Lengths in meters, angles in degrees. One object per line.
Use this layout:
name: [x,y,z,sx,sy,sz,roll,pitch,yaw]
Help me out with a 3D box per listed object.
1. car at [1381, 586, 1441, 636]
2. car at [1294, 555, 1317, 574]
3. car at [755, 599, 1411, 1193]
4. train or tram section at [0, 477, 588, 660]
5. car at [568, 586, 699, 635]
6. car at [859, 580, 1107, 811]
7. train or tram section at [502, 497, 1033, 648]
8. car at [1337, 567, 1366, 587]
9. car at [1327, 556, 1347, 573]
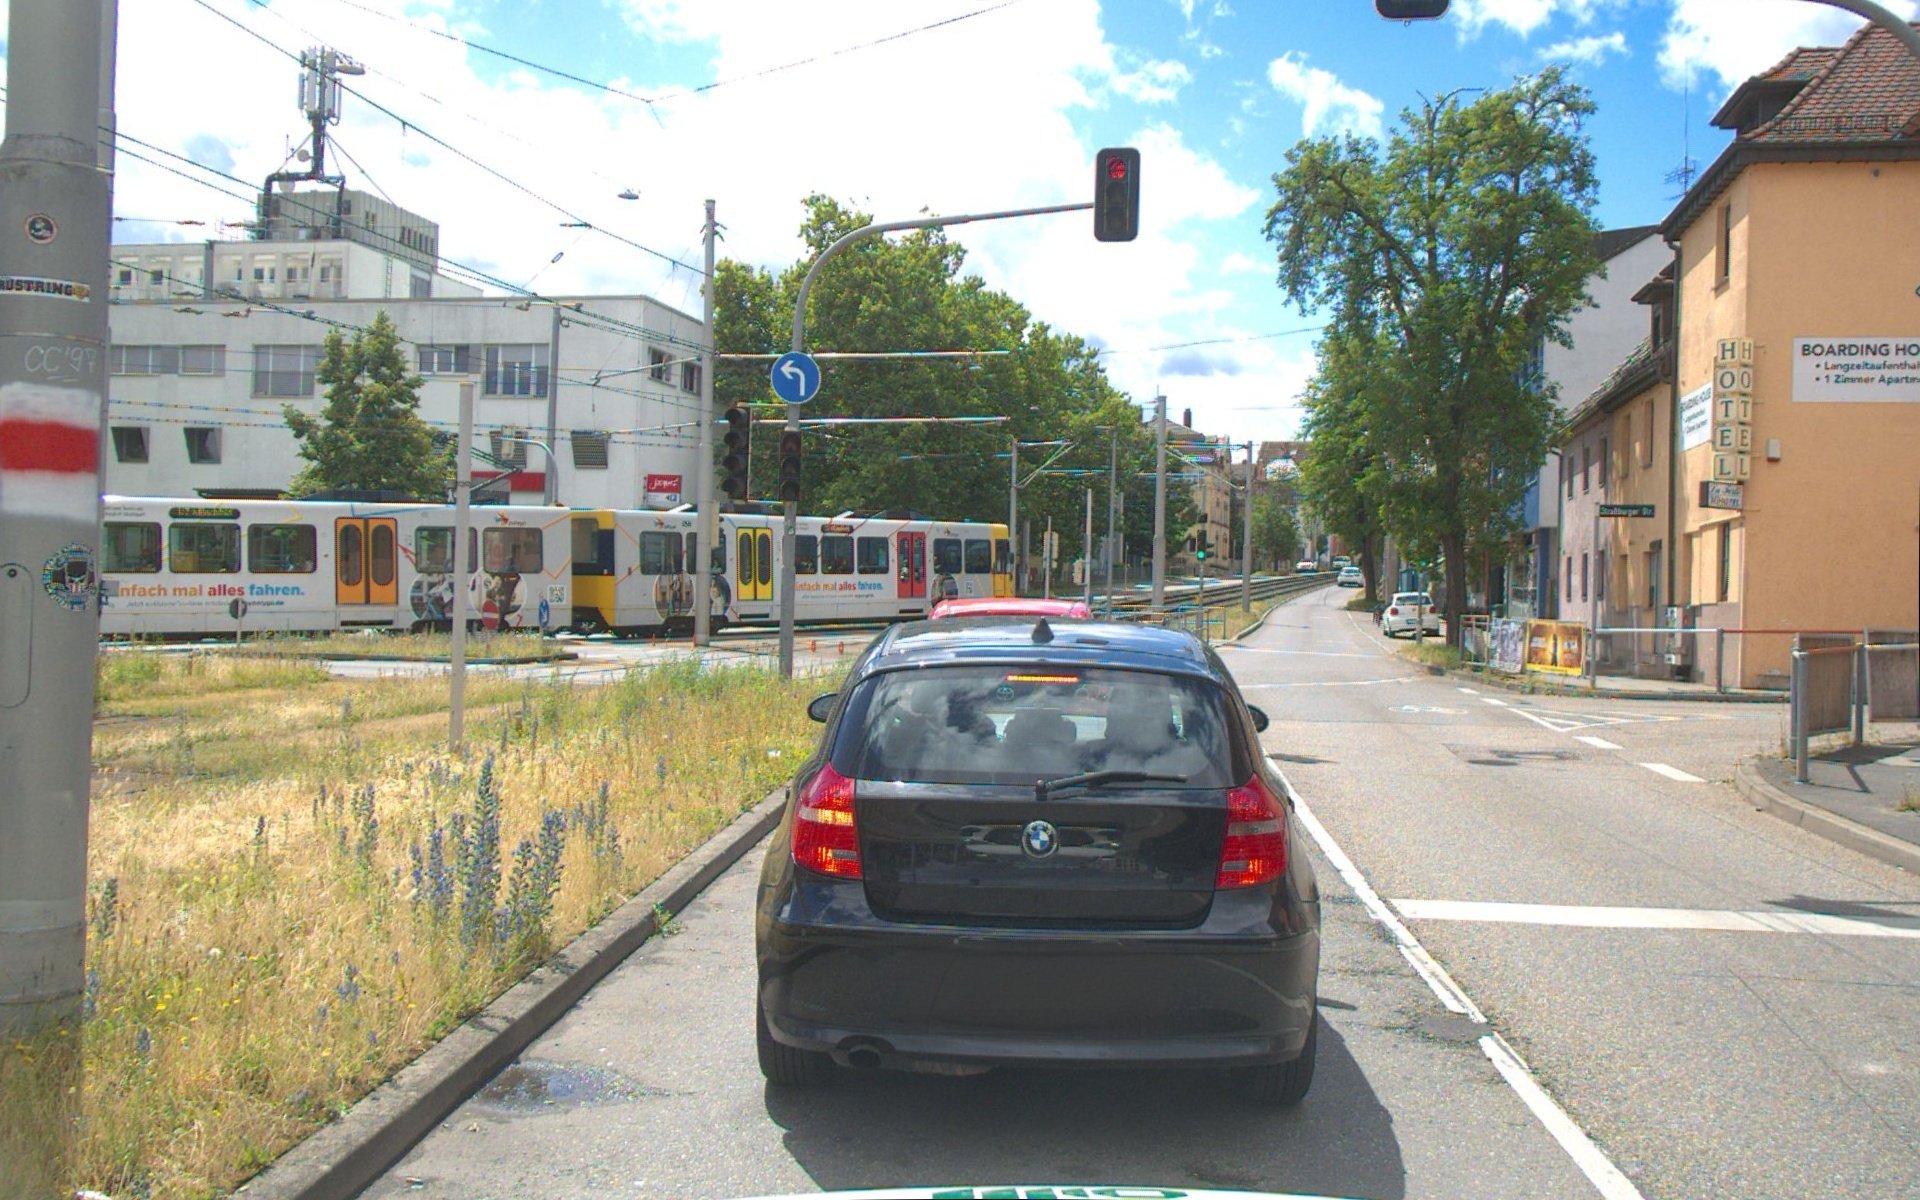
car: [15.272,0.377,56.104,1.749,1.624,4.003,0,-1,12]
car: [39.418,-4.037,188.394,1.952,2.049,4.000,-1,-1,21]
car: [0.218,0.763,6.195,1.667,1.477,3.997,0,-1,-3]
train or tram section: [-19.191,-0.656,38.930,20.364,3.947,3.721,0,-1,-32]
car: [-11.125,0.373,56.601,1.827,1.613,4.141,-1,-1,44]
car: [0.322,0.645,12.808,1.590,1.499,4.002,0,-1,6]
train or tram section: [-4.933,-0.628,51.650,3.688,3.881,19.963,-1,-1,37]
car: [30.455,-1.763,128.630,1.777,1.494,4.001,0,0,20]
car: [47.420,-4.455,207.821,1.952,2.049,4.000,-1,-1,21]
